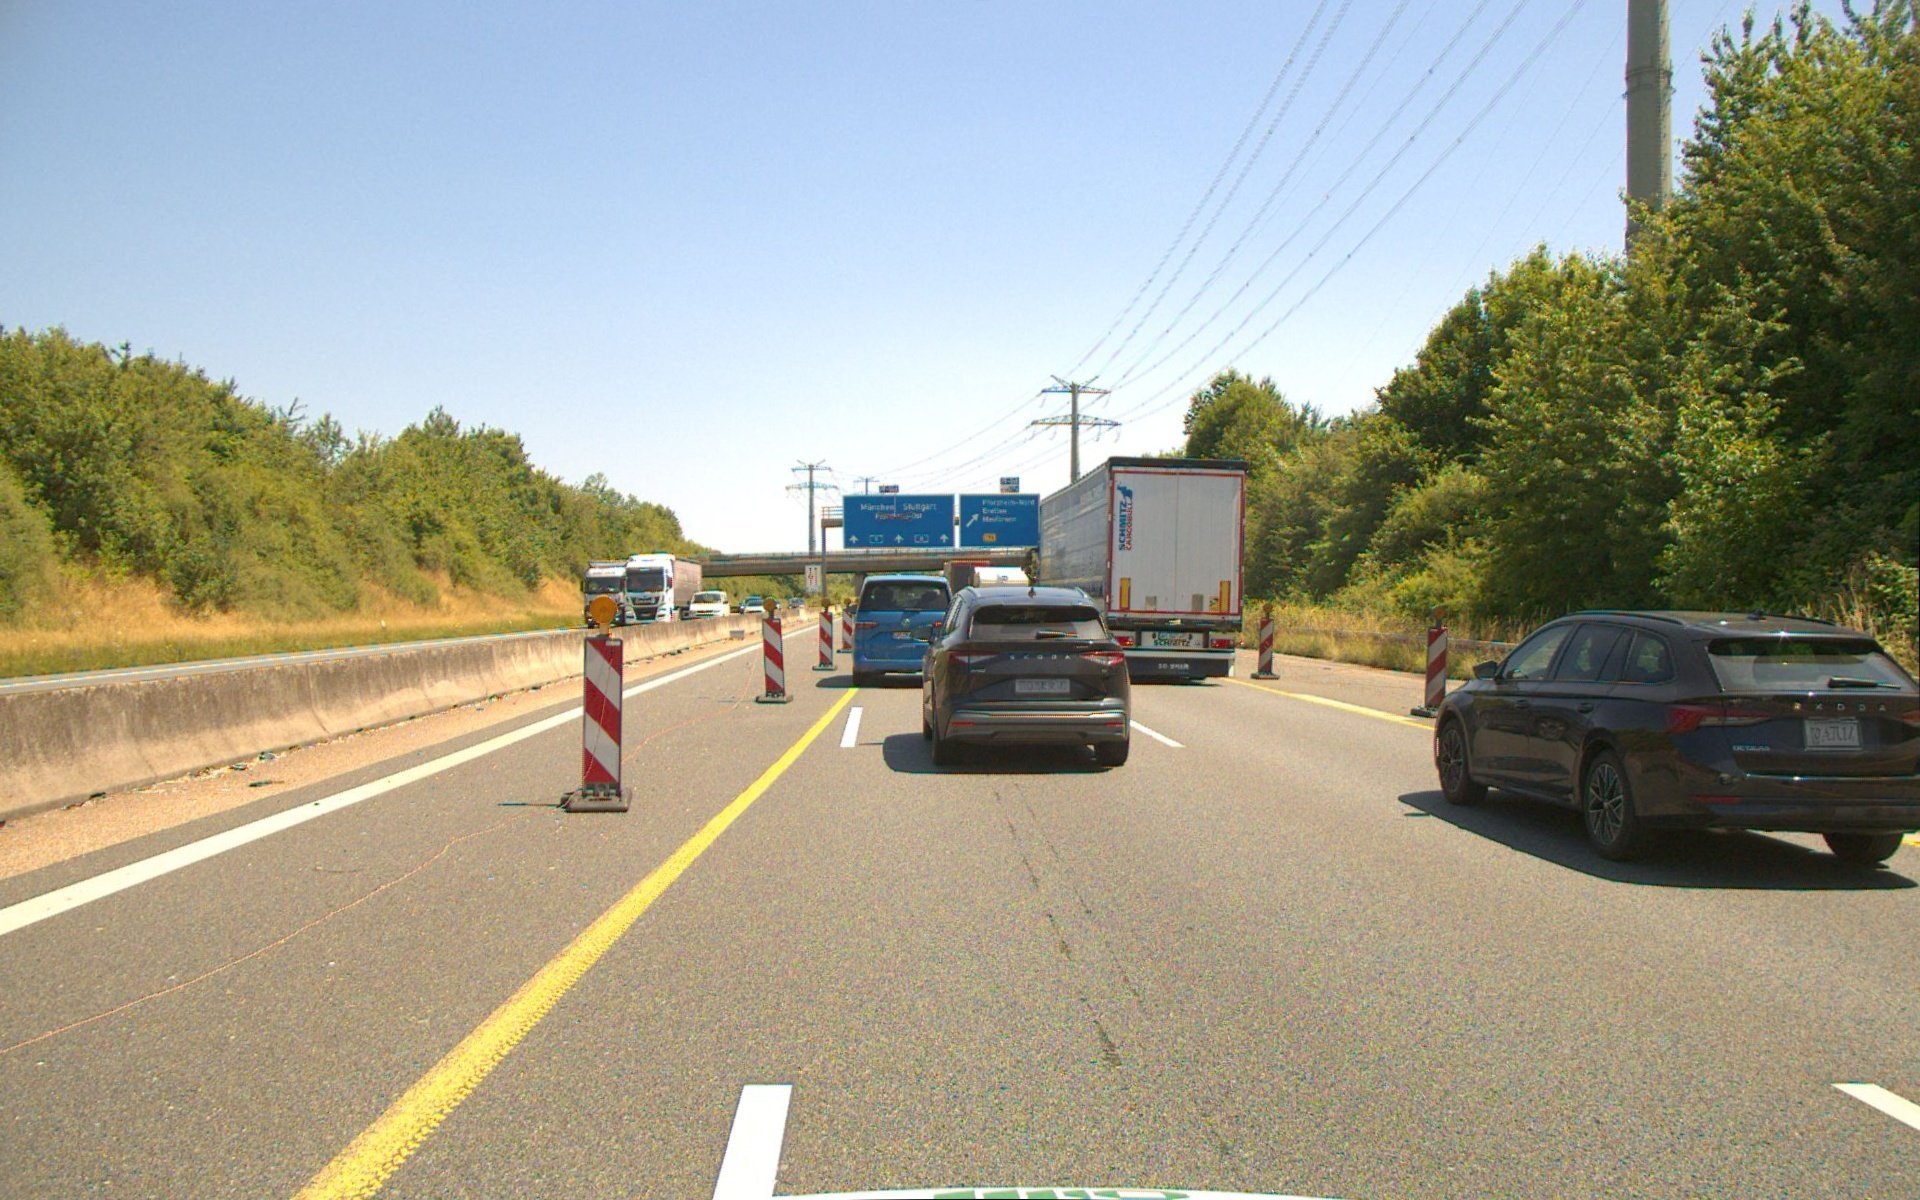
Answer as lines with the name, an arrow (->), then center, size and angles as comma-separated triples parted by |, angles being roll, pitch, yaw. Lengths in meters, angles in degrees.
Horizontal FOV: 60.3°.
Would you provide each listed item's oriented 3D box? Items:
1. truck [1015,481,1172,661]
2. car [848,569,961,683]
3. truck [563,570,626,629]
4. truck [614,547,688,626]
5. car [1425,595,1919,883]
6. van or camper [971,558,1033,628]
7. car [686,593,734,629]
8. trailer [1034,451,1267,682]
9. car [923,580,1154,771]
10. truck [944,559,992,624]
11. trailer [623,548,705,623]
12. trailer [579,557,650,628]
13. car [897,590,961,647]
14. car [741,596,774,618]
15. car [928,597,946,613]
truck -> 3.239, -0.691, 42.298 | 2.964, 4.159, 7.790 | 0, 0, -3
car -> -1.035, 0.463, 29.837 | 1.858, 1.874, 4.439 | 1, -1, -3
truck -> -21.796, -0.026, 98.942 | 2.415, 3.345, 6.921 | -1, 0, -2
truck -> -17.784, -0.762, 95.582 | 3.100, 4.298, 7.411 | -1, 0, -2
car -> 4.699, 0.750, 11.079 | 1.743, 1.515, 4.462 | 1, 0, -2
van or camper -> 1.918, -0.329, 77.657 | 2.534, 3.020, 6.083 | 2, 0, -1
car -> -13.341, 0.566, 88.463 | 1.829, 1.824, 5.453 | -1, 0, -1
trailer -> 3.671, -0.611, 35.320 | 3.004, 4.113, 11.480 | 0, 0, -3
car -> 0.622, 0.629, 16.359 | 1.858, 1.620, 4.440 | 0, 0, -3
truck -> 0.479, -0.571, 114.625 | 3.015, 4.219, 13.051 | 1, 0, -1
trailer -> -18.064, -0.868, 101.782 | 3.097, 4.253, 13.677 | -1, 0, -3
trailer -> -22.095, -0.467, 106.498 | 2.430, 4.253, 12.080 | -1, 0, -2
car -> -1.029, 0.564, 52.746 | 1.858, 1.535, 4.441 | 2, 2, -3
car -> -14.300, 0.451, 116.963 | 1.726, 1.497, 4.633 | -1, 0, -1
car -> -2.685, 0.564, 189.496 | 1.858, 1.535, 4.441 | 2, 2, -3
